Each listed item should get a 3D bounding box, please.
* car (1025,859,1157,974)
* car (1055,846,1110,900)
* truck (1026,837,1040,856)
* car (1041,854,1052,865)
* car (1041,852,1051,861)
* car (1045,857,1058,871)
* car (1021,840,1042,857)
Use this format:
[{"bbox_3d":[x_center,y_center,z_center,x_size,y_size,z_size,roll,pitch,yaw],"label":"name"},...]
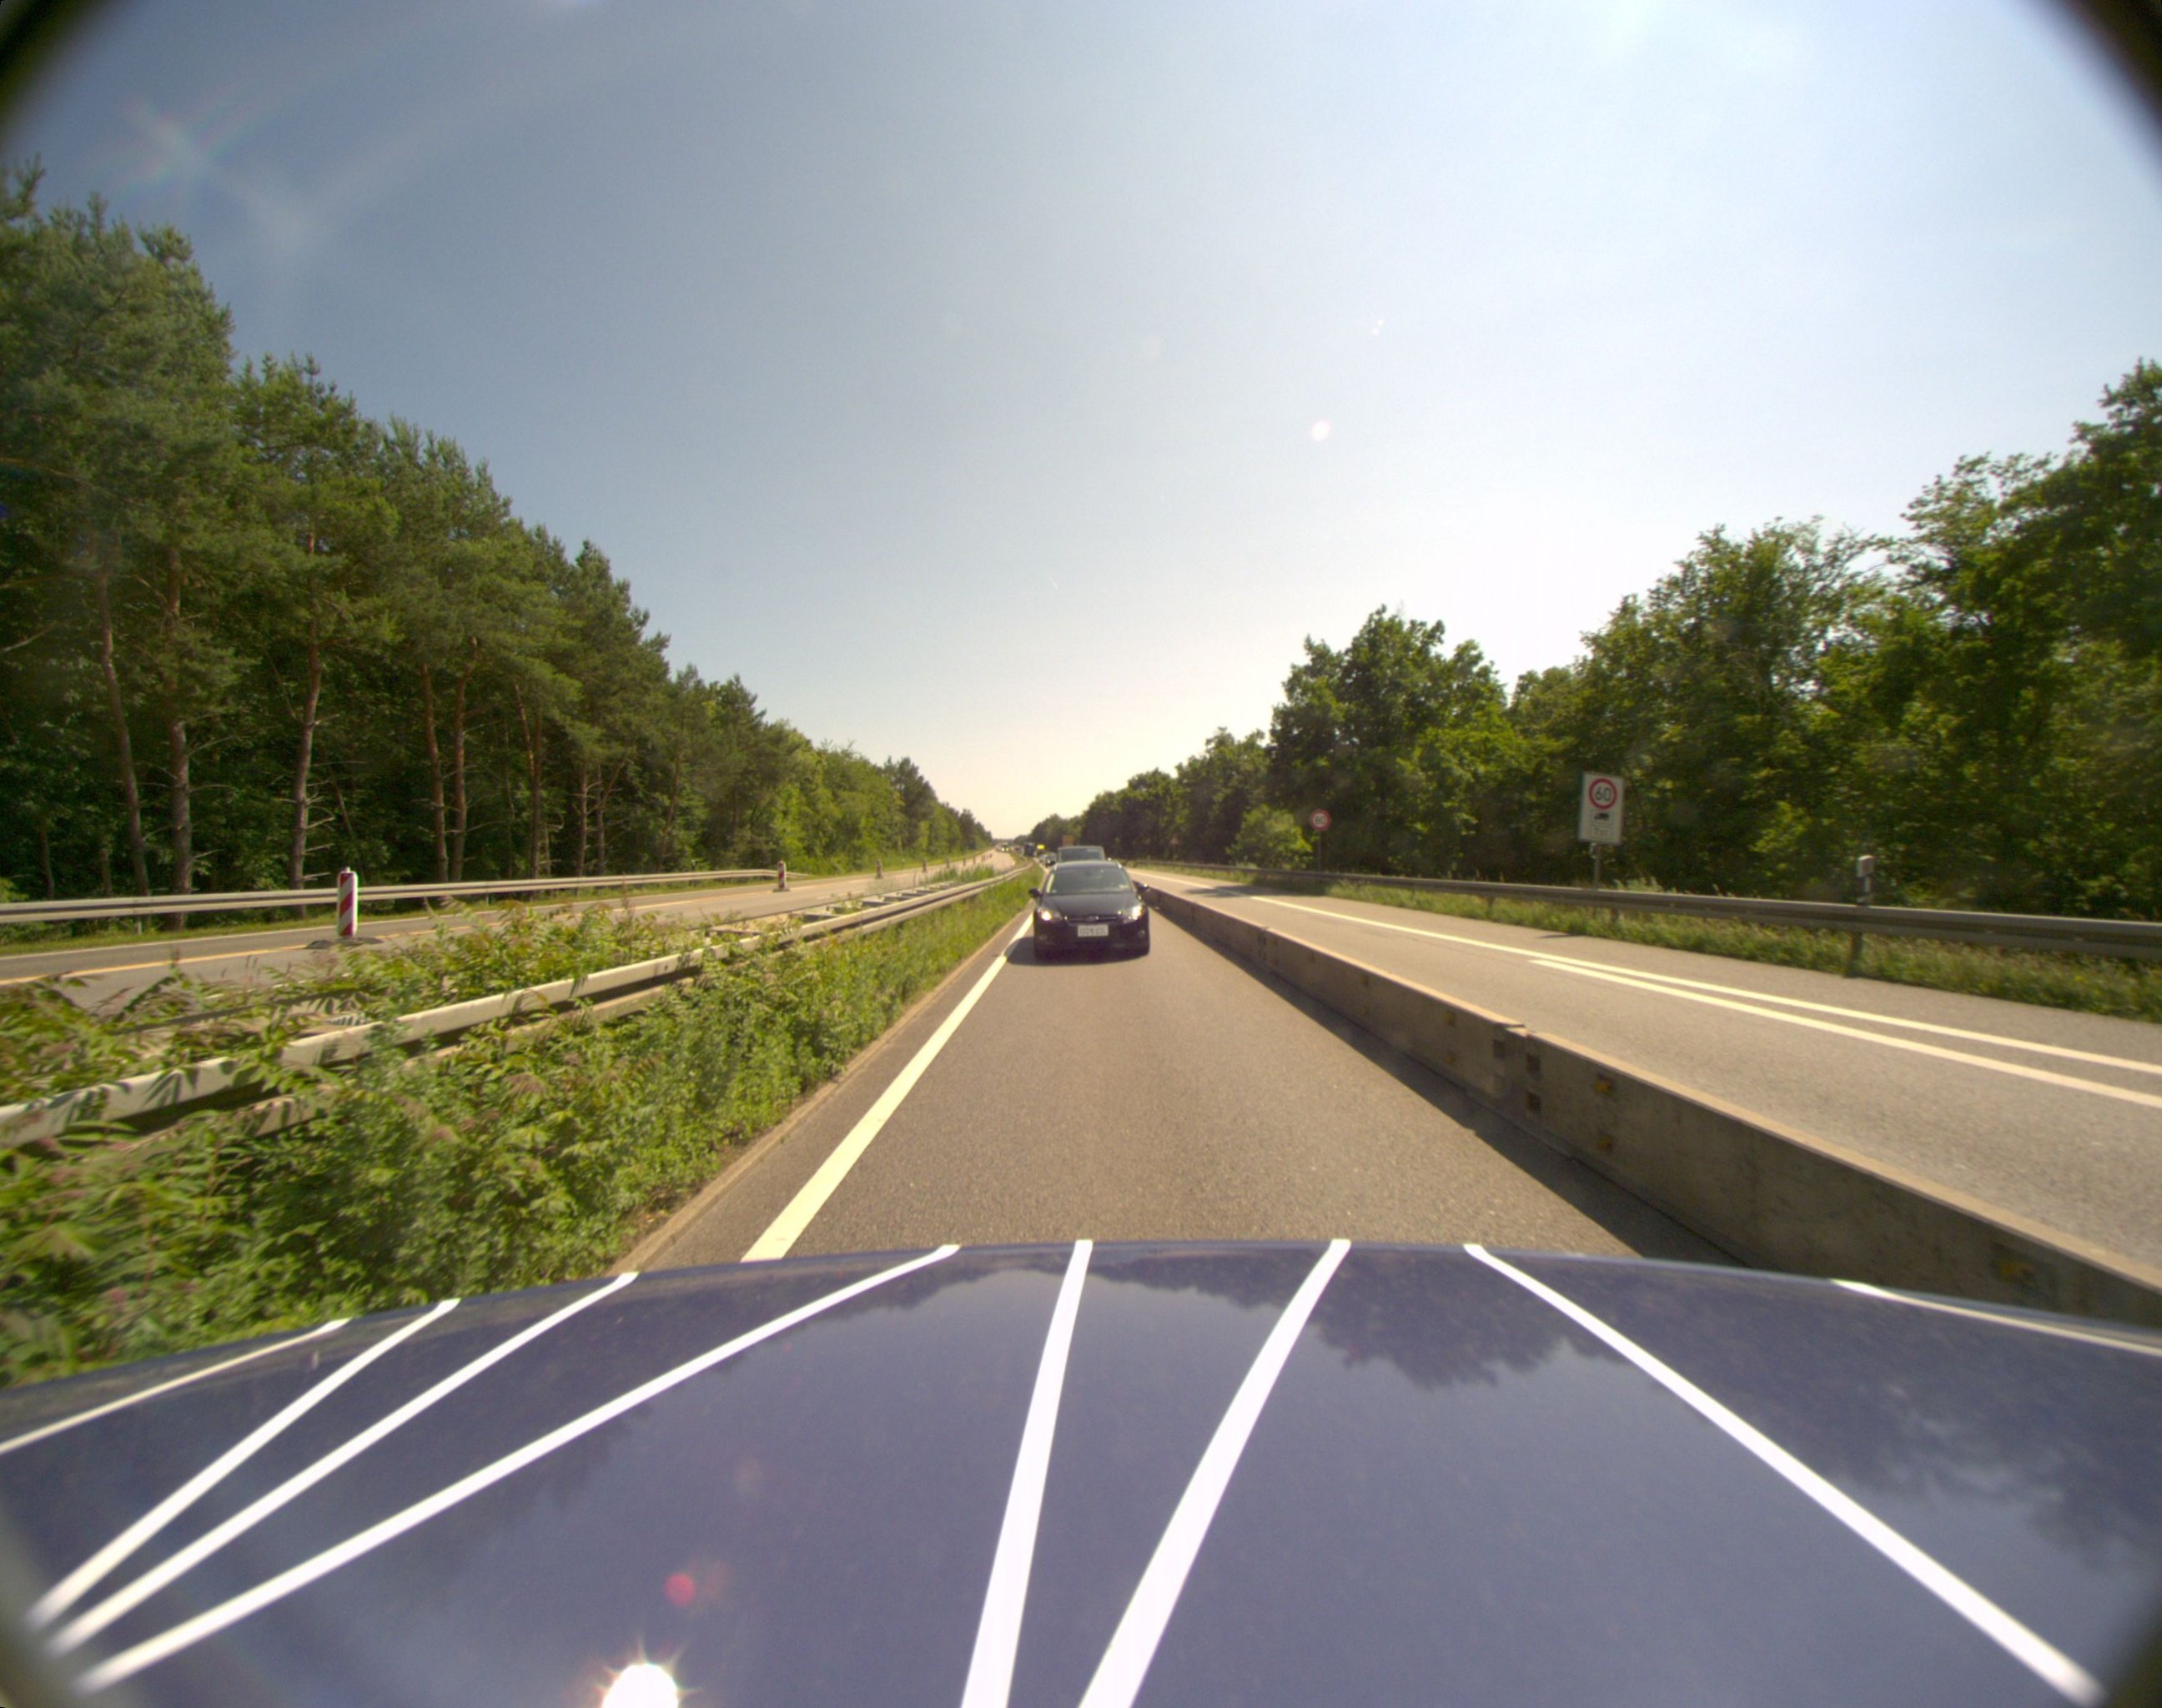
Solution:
[{"bbox_3d":[0.131,0.918,13.392,1.847,1.536,4.935,-2,0,0],"label":"car"},{"bbox_3d":[0.021,0.652,30.254,1.960,1.901,4.934,-2,1,-1],"label":"car"},{"bbox_3d":[-13.545,-1.972,214.867,3.830,5.266,11.242,-1,0,-4],"label":"truck"},{"bbox_3d":[-5.281,0.880,117.279,1.527,1.647,3.980,-1,0,0],"label":"car"},{"bbox_3d":[-6.156,0.469,135.011,1.527,1.647,3.754,0,0,0],"label":"car"},{"bbox_3d":[-3.719,1.243,96.210,1.527,1.647,3.980,-1,0,0],"label":"car"},{"bbox_3d":[-5.394,-0.543,83.139,1.998,1.773,4.000,-1,0,0],"label":"car"}]
